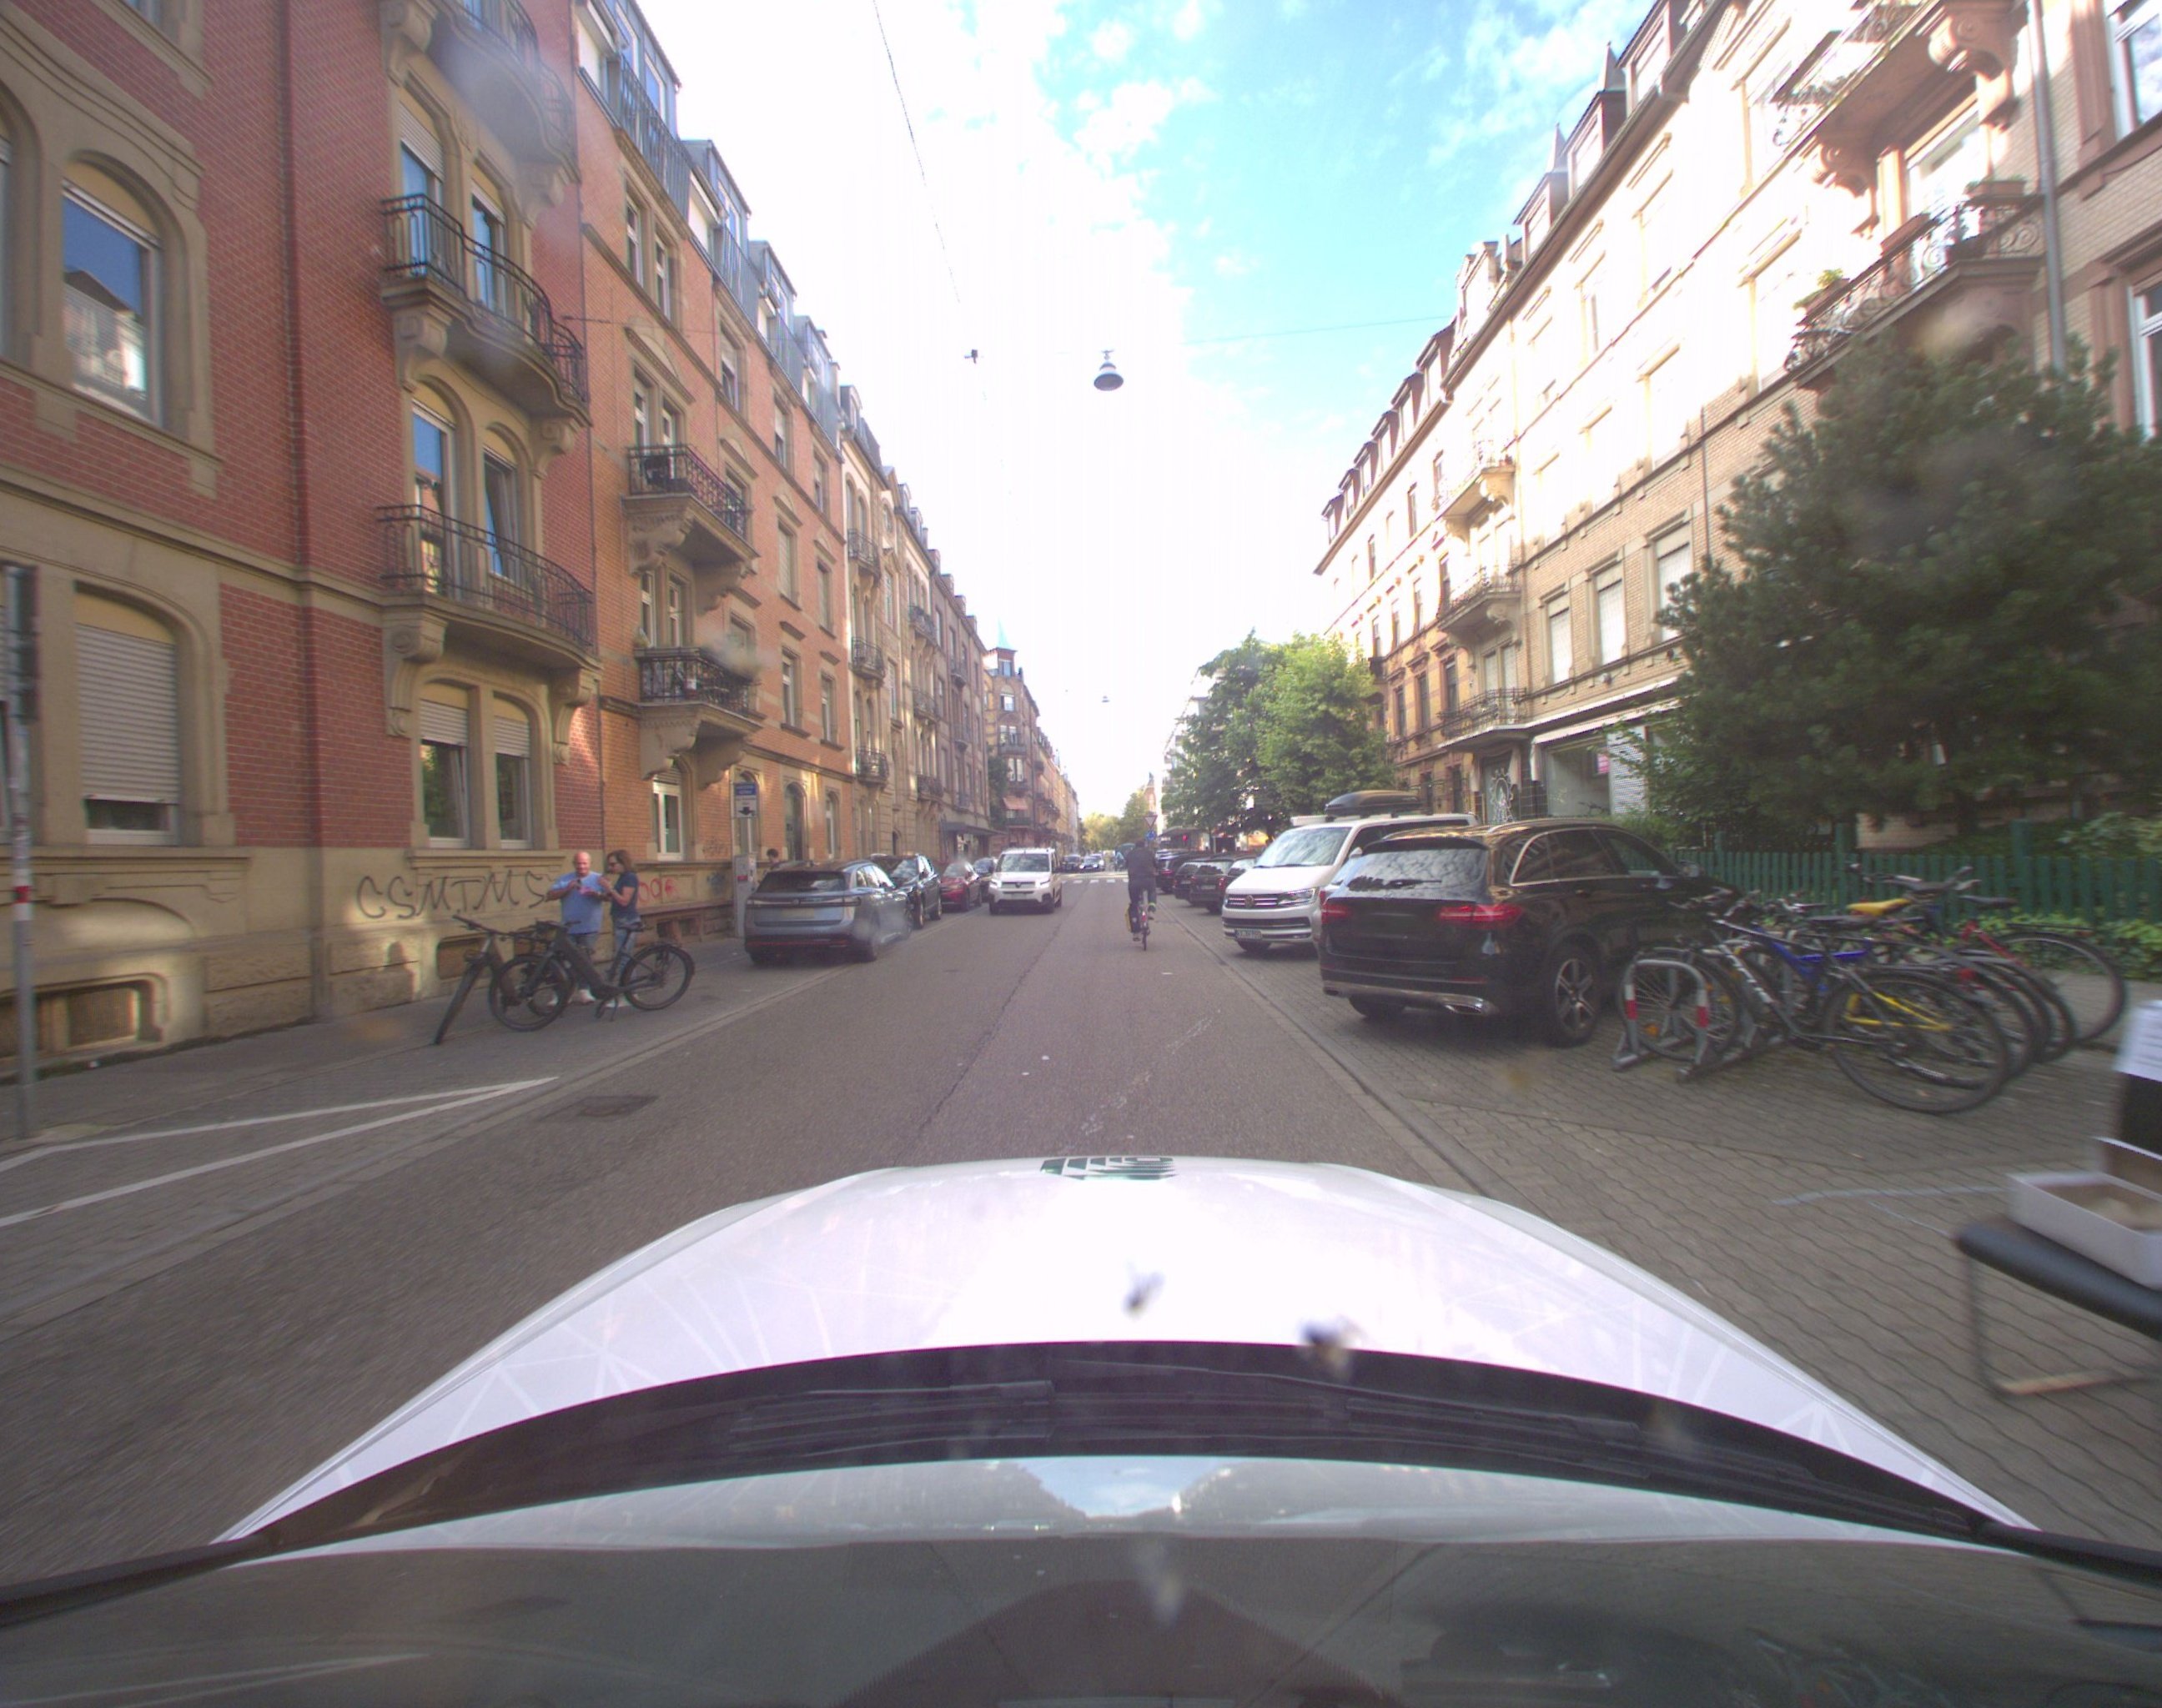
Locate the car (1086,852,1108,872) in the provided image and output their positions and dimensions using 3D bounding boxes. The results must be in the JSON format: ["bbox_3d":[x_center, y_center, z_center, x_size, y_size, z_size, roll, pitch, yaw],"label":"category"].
[{"bbox_3d":[1.724,0.814,84.099,1.934,1.722,4.855,-4,1,4],"label":"car"}]

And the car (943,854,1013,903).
[{"bbox_3d":[-3.785,0.882,30.661,1.784,1.628,4.849,-2,-1,2],"label":"car"}]

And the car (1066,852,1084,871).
[{"bbox_3d":[-0.719,0.857,96.128,1.987,2.013,3.999,-3,0,0],"label":"car"}]

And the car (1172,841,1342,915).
[{"bbox_3d":[4.719,0.580,21.544,4.491,1.476,1.868,-6,2,-38],"label":"car"}]

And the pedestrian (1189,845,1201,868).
[{"bbox_3d":[9.670,0.218,68.998,0.864,1.851,0.614,-3,0,7],"label":"pedestrian"}]

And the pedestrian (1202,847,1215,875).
[{"bbox_3d":[8.051,0.437,51.462,0.624,1.739,0.778,-3,0,14],"label":"pedestrian"}]

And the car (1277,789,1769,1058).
[{"bbox_3d":[4.081,0.405,7.296,4.475,1.732,1.979,-2,0,-33],"label":"car"}]

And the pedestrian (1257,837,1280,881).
[{"bbox_3d":[8.221,0.231,35.711,0.835,1.878,0.724,-3,0,6],"label":"pedestrian"}]

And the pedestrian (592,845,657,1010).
[{"bbox_3d":[-4.971,0.759,8.861,0.568,1.709,0.661,-1,-1,-33],"label":"pedestrian"}]

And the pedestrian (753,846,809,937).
[{"bbox_3d":[-6.149,0.755,16.730,0.752,1.808,0.864,-1,0,5],"label":"pedestrian"}]

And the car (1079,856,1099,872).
[{"bbox_3d":[0.741,0.942,75.409,1.744,1.436,4.211,-1,-1,0],"label":"car"}]

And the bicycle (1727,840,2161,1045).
[{"bbox_3d":[5.899,0.534,5.730,0.812,1.146,1.918,-3,0,-27],"label":"bicycle"}]

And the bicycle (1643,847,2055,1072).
[{"bbox_3d":[4.770,0.588,5.249,0.407,1.182,1.850,-3,0,-29],"label":"bicycle"}]

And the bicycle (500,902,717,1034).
[{"bbox_3d":[-4.589,1.050,8.089,0.477,1.059,1.915,0,-1,26],"label":"bicycle"}]

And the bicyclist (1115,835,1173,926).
[{"bbox_3d":[1.066,0.444,13.903,0.930,1.484,0.747,-1,-1,1],"label":"bicyclist"}]

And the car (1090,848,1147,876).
[{"bbox_3d":[2.668,0.546,58.079,3.973,1.882,2.000,-1,0,0],"label":"car"}]

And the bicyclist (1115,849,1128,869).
[{"bbox_3d":[3.391,0.431,68.714,0.847,1.665,0.794,-1,0,22],"label":"bicyclist"}]

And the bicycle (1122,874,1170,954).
[{"bbox_3d":[1.067,0.956,13.821,0.663,1.178,2.498,-1,0,2],"label":"bicycle"}]

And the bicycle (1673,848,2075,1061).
[{"bbox_3d":[5.162,0.591,5.482,0.407,1.182,1.850,-3,0,-29],"label":"bicycle"}]

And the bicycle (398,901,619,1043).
[{"bbox_3d":[-5.355,1.042,7.787,0.490,1.095,1.910,0,-1,11],"label":"bicycle"}]

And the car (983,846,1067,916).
[{"bbox_3d":[-1.518,0.716,23.788,1.910,1.828,4.441,-1,0,2],"label":"car"}]

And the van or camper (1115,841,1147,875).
[{"bbox_3d":[4.617,0.358,75.827,2.523,3.037,4.458,-2,0,0],"label":"van or camper"}]

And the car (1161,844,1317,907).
[{"bbox_3d":[4.784,0.590,24.447,4.486,1.464,1.860,-5,1,-33],"label":"car"}]

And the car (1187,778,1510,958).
[{"bbox_3d":[4.379,0.092,13.021,5.178,2.405,1.899,-3,0,-32],"label":"car"}]

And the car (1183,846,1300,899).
[{"bbox_3d":[5.428,0.593,27.314,3.737,1.485,1.722,-4,1,-36],"label":"car"}]

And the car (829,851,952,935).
[{"bbox_3d":[-4.362,0.805,19.458,1.868,1.681,4.891,-1,0,-2],"label":"car"}]

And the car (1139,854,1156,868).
[{"bbox_3d":[7.267,0.749,89.128,1.638,1.324,3.580,-5,0,3],"label":"car"}]

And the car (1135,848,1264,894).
[{"bbox_3d":[4.789,0.653,32.875,4.779,1.456,2.039,-5,1,-26],"label":"car"}]

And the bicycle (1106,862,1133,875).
[{"bbox_3d":[3.280,1.217,68.741,2.166,1.092,0.681,-1,0,20],"label":"bicycle"}]

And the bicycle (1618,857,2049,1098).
[{"bbox_3d":[4.409,0.643,4.972,0.407,1.182,1.850,-3,0,-29],"label":"bicycle"}]

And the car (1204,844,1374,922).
[{"bbox_3d":[4.868,0.615,18.805,4.015,1.459,1.730,-4,0,-40],"label":"car"}]

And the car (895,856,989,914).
[{"bbox_3d":[-4.174,0.902,25.194,1.986,1.545,4.427,-2,-1,1],"label":"car"}]

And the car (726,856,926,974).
[{"bbox_3d":[-3.994,0.849,13.789,1.820,1.578,5.260,-1,0,-2],"label":"car"}]

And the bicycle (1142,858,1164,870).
[{"bbox_3d":[6.943,0.935,78.647,1.991,1.045,0.532,-3,0,4],"label":"bicycle"}]

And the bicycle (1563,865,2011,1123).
[{"bbox_3d":[3.908,0.685,4.741,0.407,1.182,1.899,-3,0,-29],"label":"bicycle"}]

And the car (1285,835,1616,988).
[{"bbox_3d":[4.793,0.572,10.387,4.254,1.549,1.854,-2,1,-33],"label":"car"}]

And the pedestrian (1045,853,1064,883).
[{"bbox_3d":[-1.604,0.829,49.133,0.774,1.779,0.798,-3,0,40],"label":"pedestrian"}]

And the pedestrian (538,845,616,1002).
[{"bbox_3d":[-5.556,0.735,9.005,0.683,1.661,0.546,-1,-1,-28],"label":"pedestrian"}]
